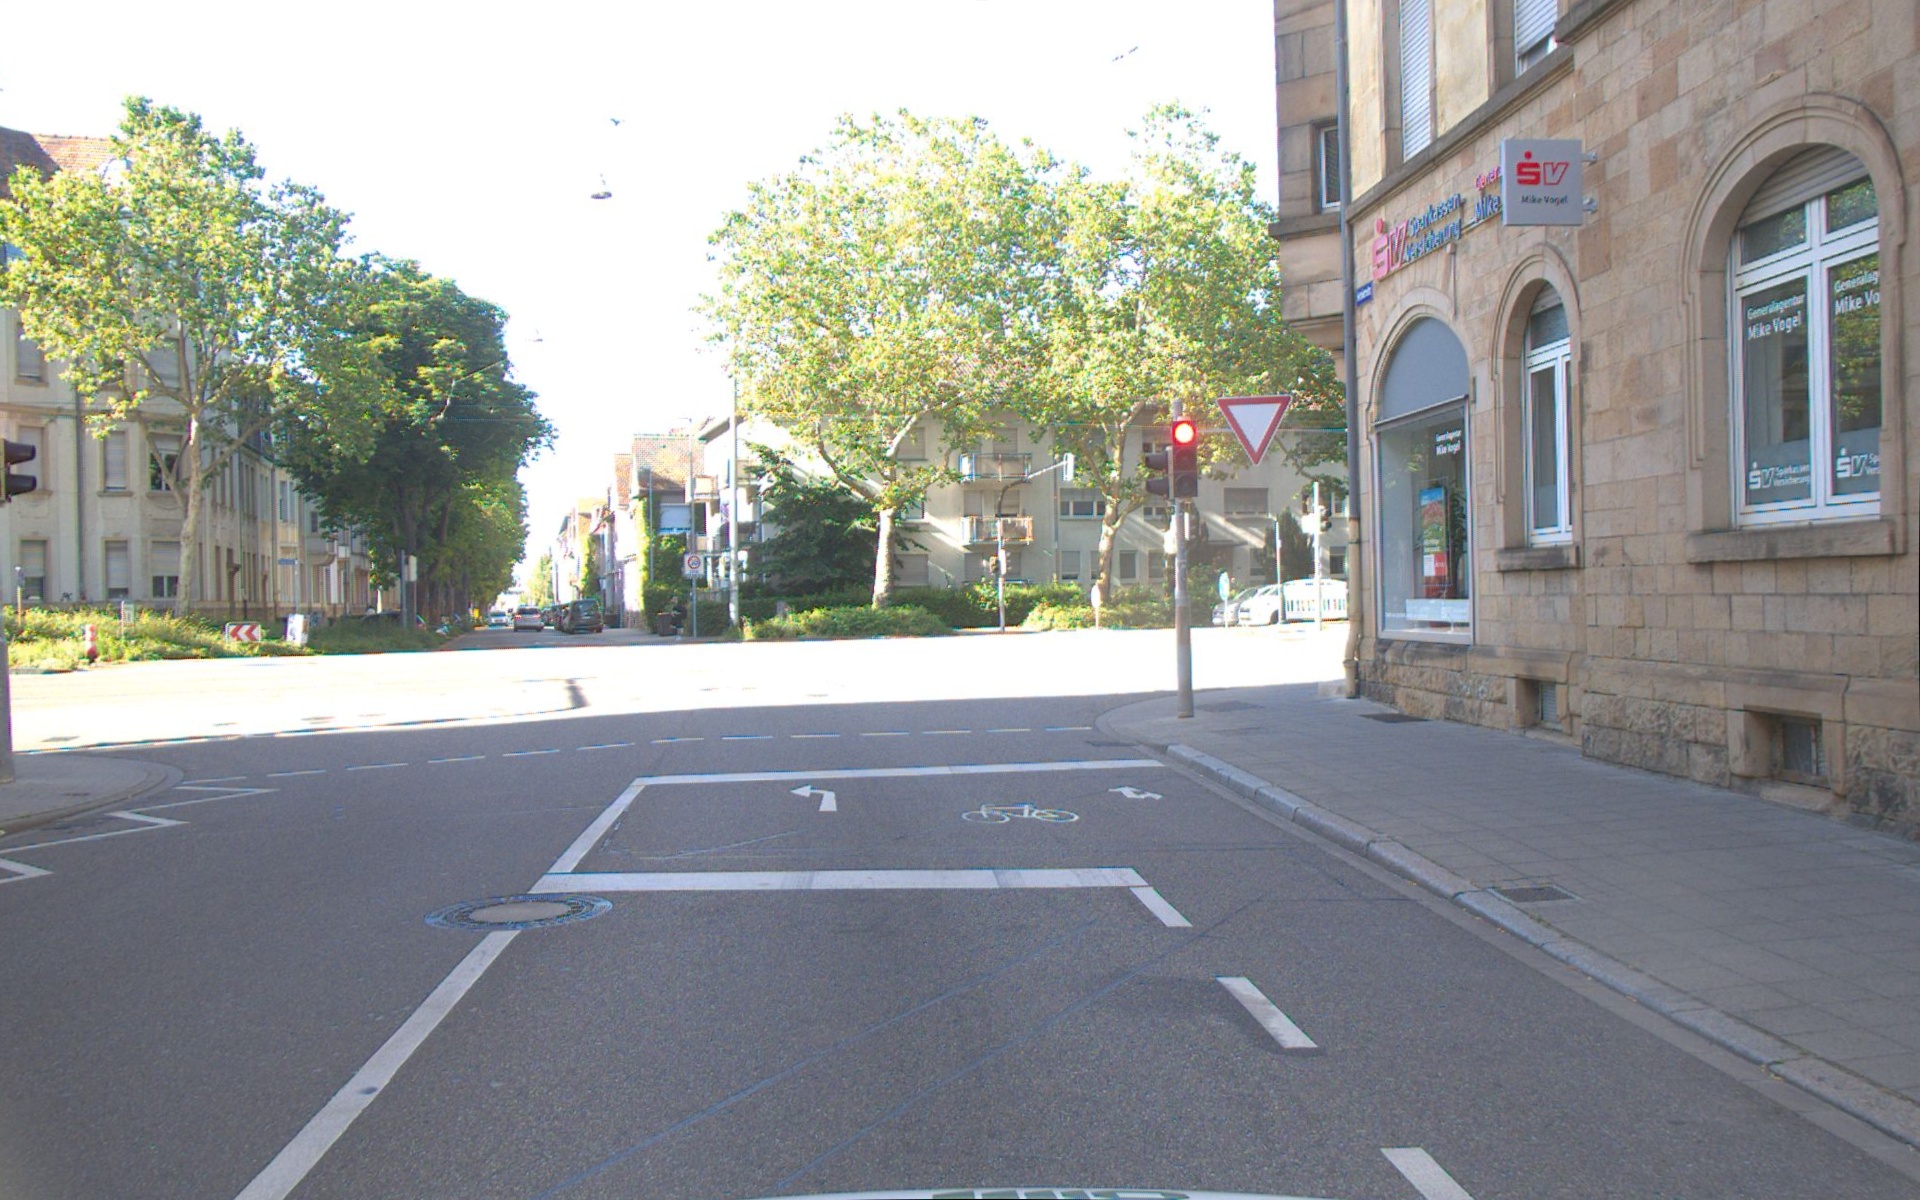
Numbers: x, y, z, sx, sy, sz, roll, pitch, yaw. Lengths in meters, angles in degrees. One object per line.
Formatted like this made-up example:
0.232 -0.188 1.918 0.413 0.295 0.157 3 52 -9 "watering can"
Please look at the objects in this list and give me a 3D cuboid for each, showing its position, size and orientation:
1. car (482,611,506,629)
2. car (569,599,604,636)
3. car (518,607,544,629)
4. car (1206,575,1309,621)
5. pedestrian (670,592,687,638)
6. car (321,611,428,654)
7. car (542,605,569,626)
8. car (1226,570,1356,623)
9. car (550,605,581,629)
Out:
-42.774 1.810 151.750 1.962 1.471 3.981 -2 1 -17 "car"
-22.169 1.007 98.249 1.959 2.049 3.987 -2 1 -13 "car"
-29.974 1.271 115.531 1.645 1.508 3.509 0 0 -13 "car"
10.554 -0.071 58.667 3.337 1.513 1.513 -2 1 -25 "car"
-10.934 0.588 64.320 0.621 1.780 0.658 0 -1 -7 "pedestrian"
-23.332 1.288 65.866 3.931 1.512 1.670 -2 1 -22 "car"
-36.415 1.388 148.797 1.963 1.865 3.978 0 0 -19 "car"
10.393 -0.113 51.883 3.737 1.498 1.618 -2 1 -24 "car"
-30.612 1.314 128.318 1.963 1.865 3.978 0 0 -19 "car"
